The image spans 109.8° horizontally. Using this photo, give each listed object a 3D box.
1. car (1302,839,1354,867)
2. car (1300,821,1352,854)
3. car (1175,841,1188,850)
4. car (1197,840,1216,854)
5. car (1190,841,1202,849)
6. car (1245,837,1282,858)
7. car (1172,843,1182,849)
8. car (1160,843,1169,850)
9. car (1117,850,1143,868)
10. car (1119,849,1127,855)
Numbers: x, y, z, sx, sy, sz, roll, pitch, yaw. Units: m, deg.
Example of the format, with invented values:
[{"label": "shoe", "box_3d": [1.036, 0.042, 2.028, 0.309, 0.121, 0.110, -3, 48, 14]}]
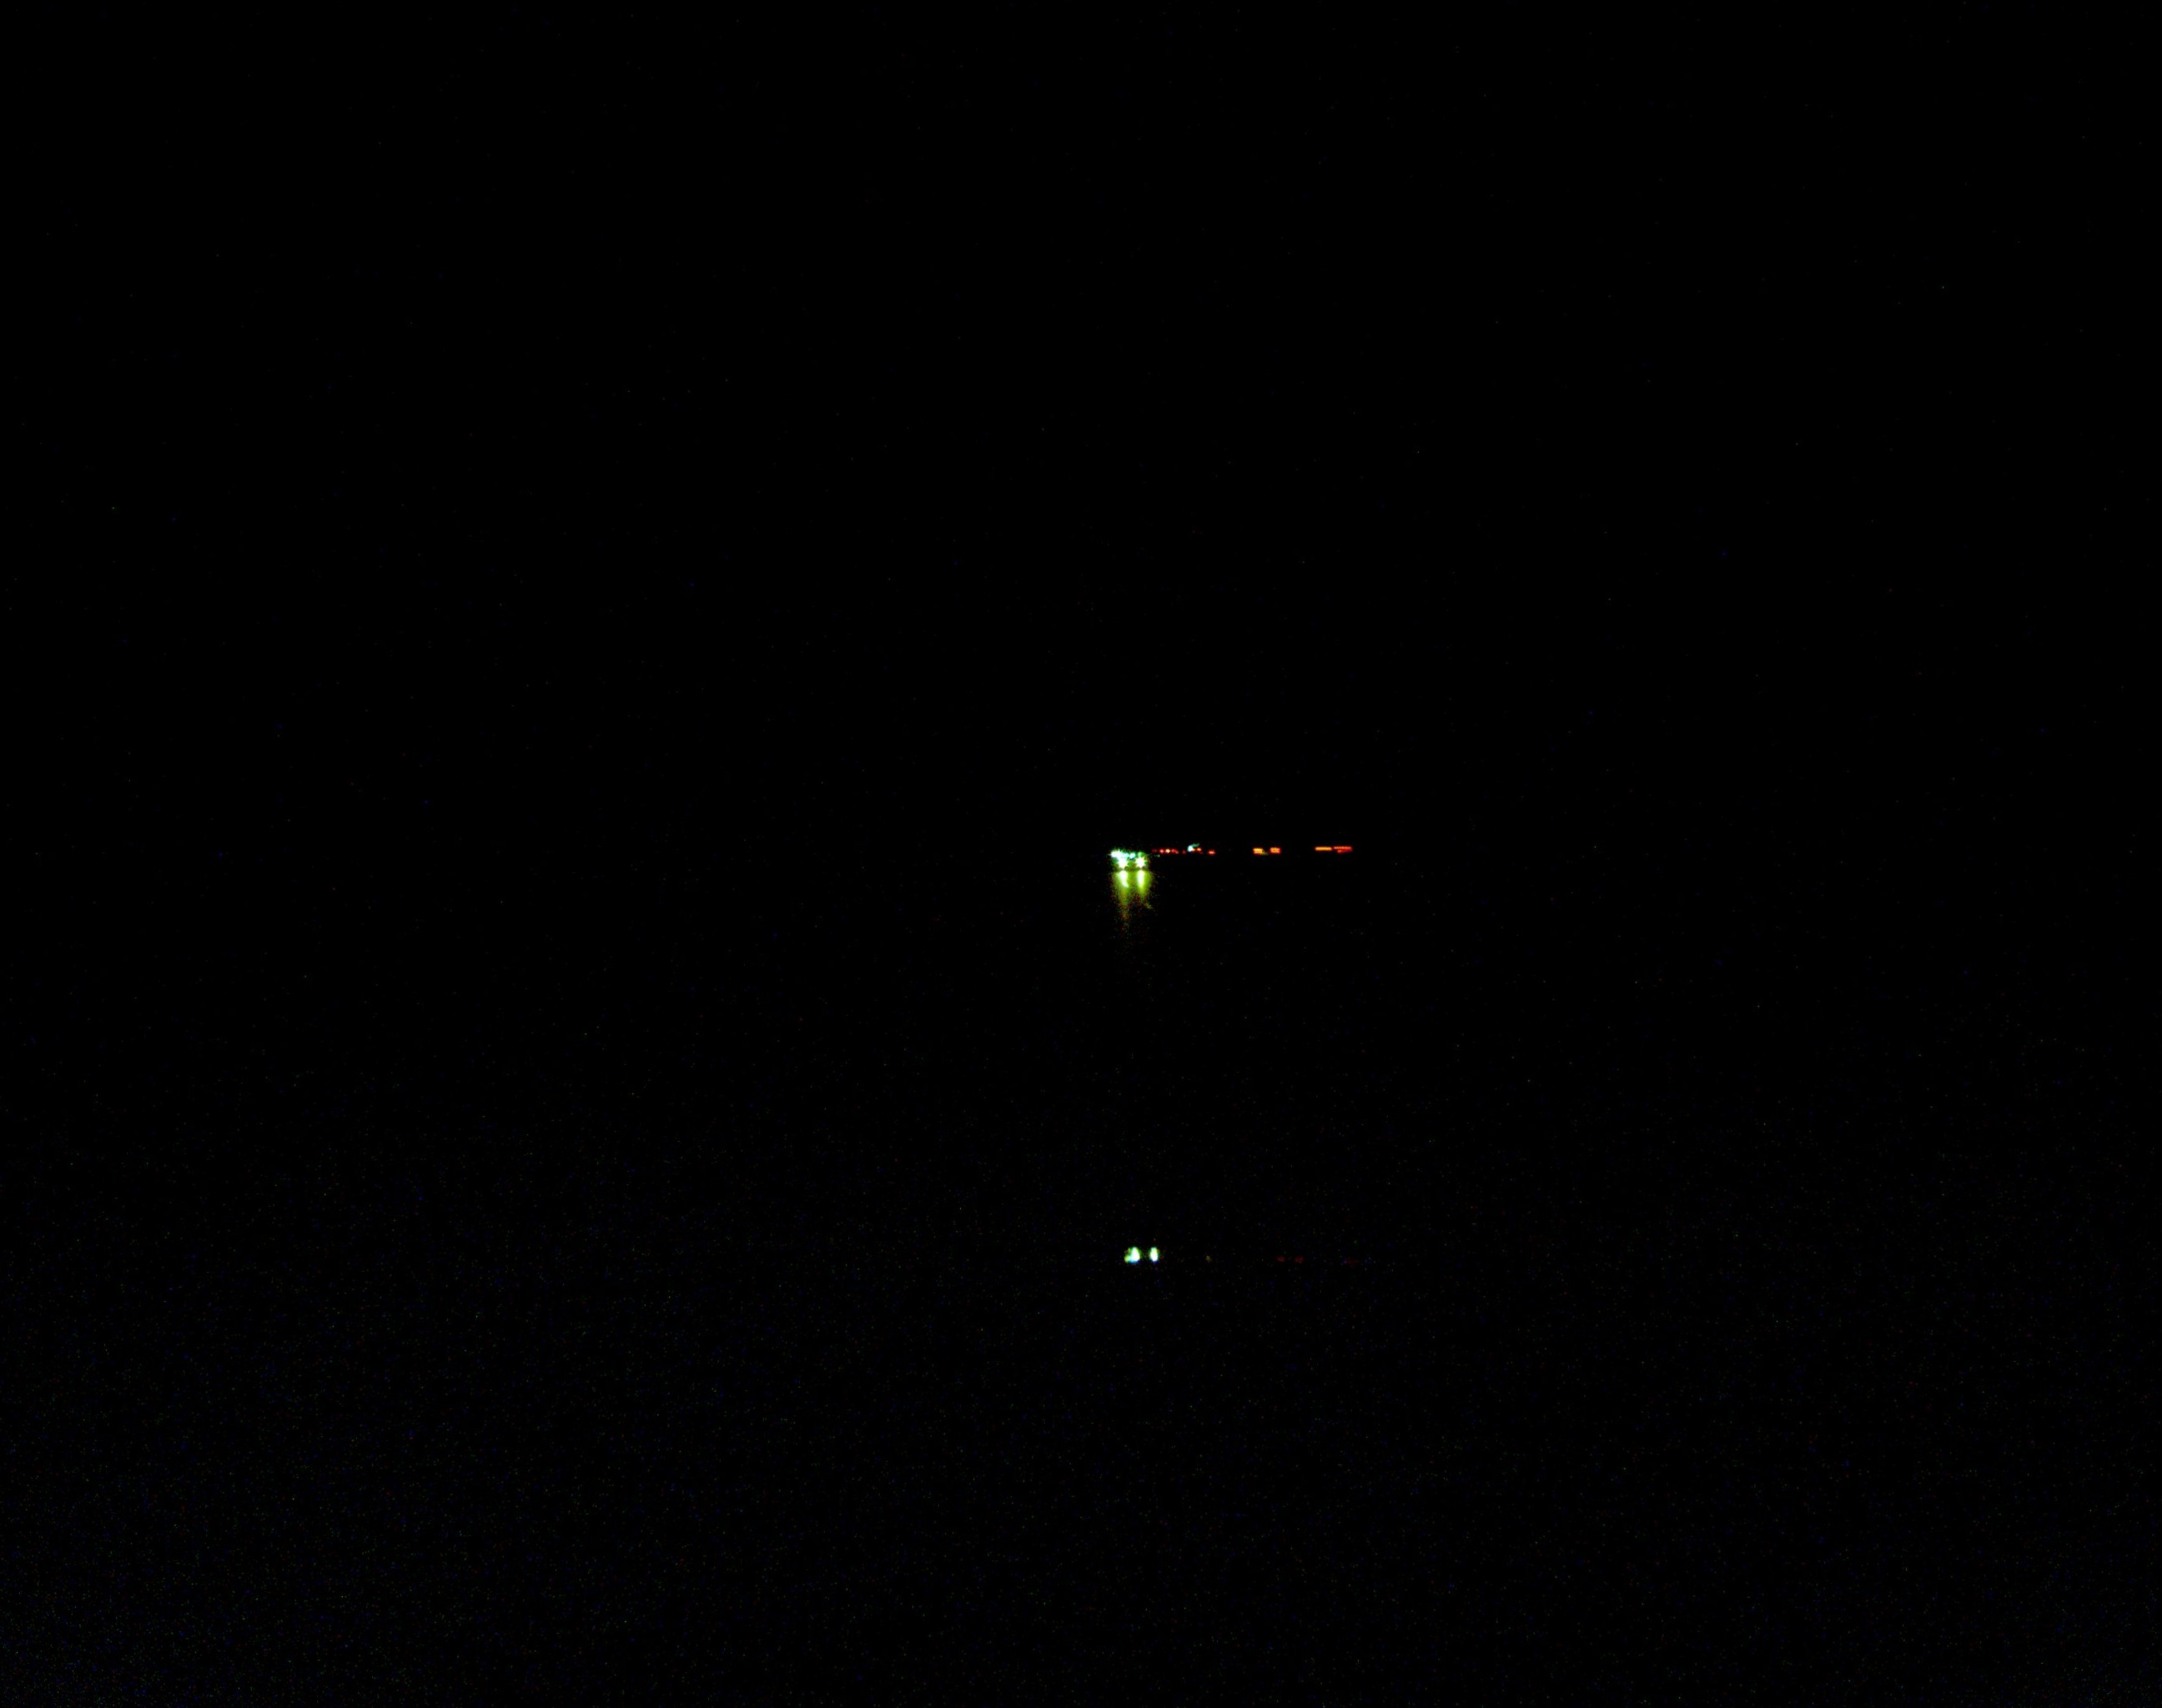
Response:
[{"label": "car", "box_3d": [16.509, -0.090, 51.081, 1.998, 1.724, 4.659, -3, 0, 1]}, {"label": "car", "box_3d": [23.880, -1.587, 74.587, 2.464, 2.919, 8.333, -3, 0, 1]}, {"label": "car", "box_3d": [19.918, -1.635, 150.880, 1.998, 1.724, 4.659, -3, 0, 2]}, {"label": "car", "box_3d": [17.613, -0.986, 106.589, 1.998, 1.724, 4.659, -3, 0, 2]}, {"label": "car", "box_3d": [24.977, -1.921, 164.950, 1.998, 1.500, 5.185, -3, 0, 2]}, {"label": "car", "box_3d": [17.861, -0.658, 74.678, 2.151, 1.874, 5.422, -3, 0, -2]}, {"label": "car", "box_3d": [27.011, -2.199, 214.228, 1.998, 1.500, 5.202, -3, 0, 0]}, {"label": "car", "box_3d": [22.438, -2.090, 203.681, 1.998, 1.724, 4.659, -3, 0, 2]}, {"label": "car", "box_3d": [4.226, 0.427, 66.227, 1.998, 1.422, 4.330, -3, 0, 0]}, {"label": "car", "box_3d": [12.739, -0.518, 230.769, 1.998, 1.724, 4.225, -3, 0, 1]}]
